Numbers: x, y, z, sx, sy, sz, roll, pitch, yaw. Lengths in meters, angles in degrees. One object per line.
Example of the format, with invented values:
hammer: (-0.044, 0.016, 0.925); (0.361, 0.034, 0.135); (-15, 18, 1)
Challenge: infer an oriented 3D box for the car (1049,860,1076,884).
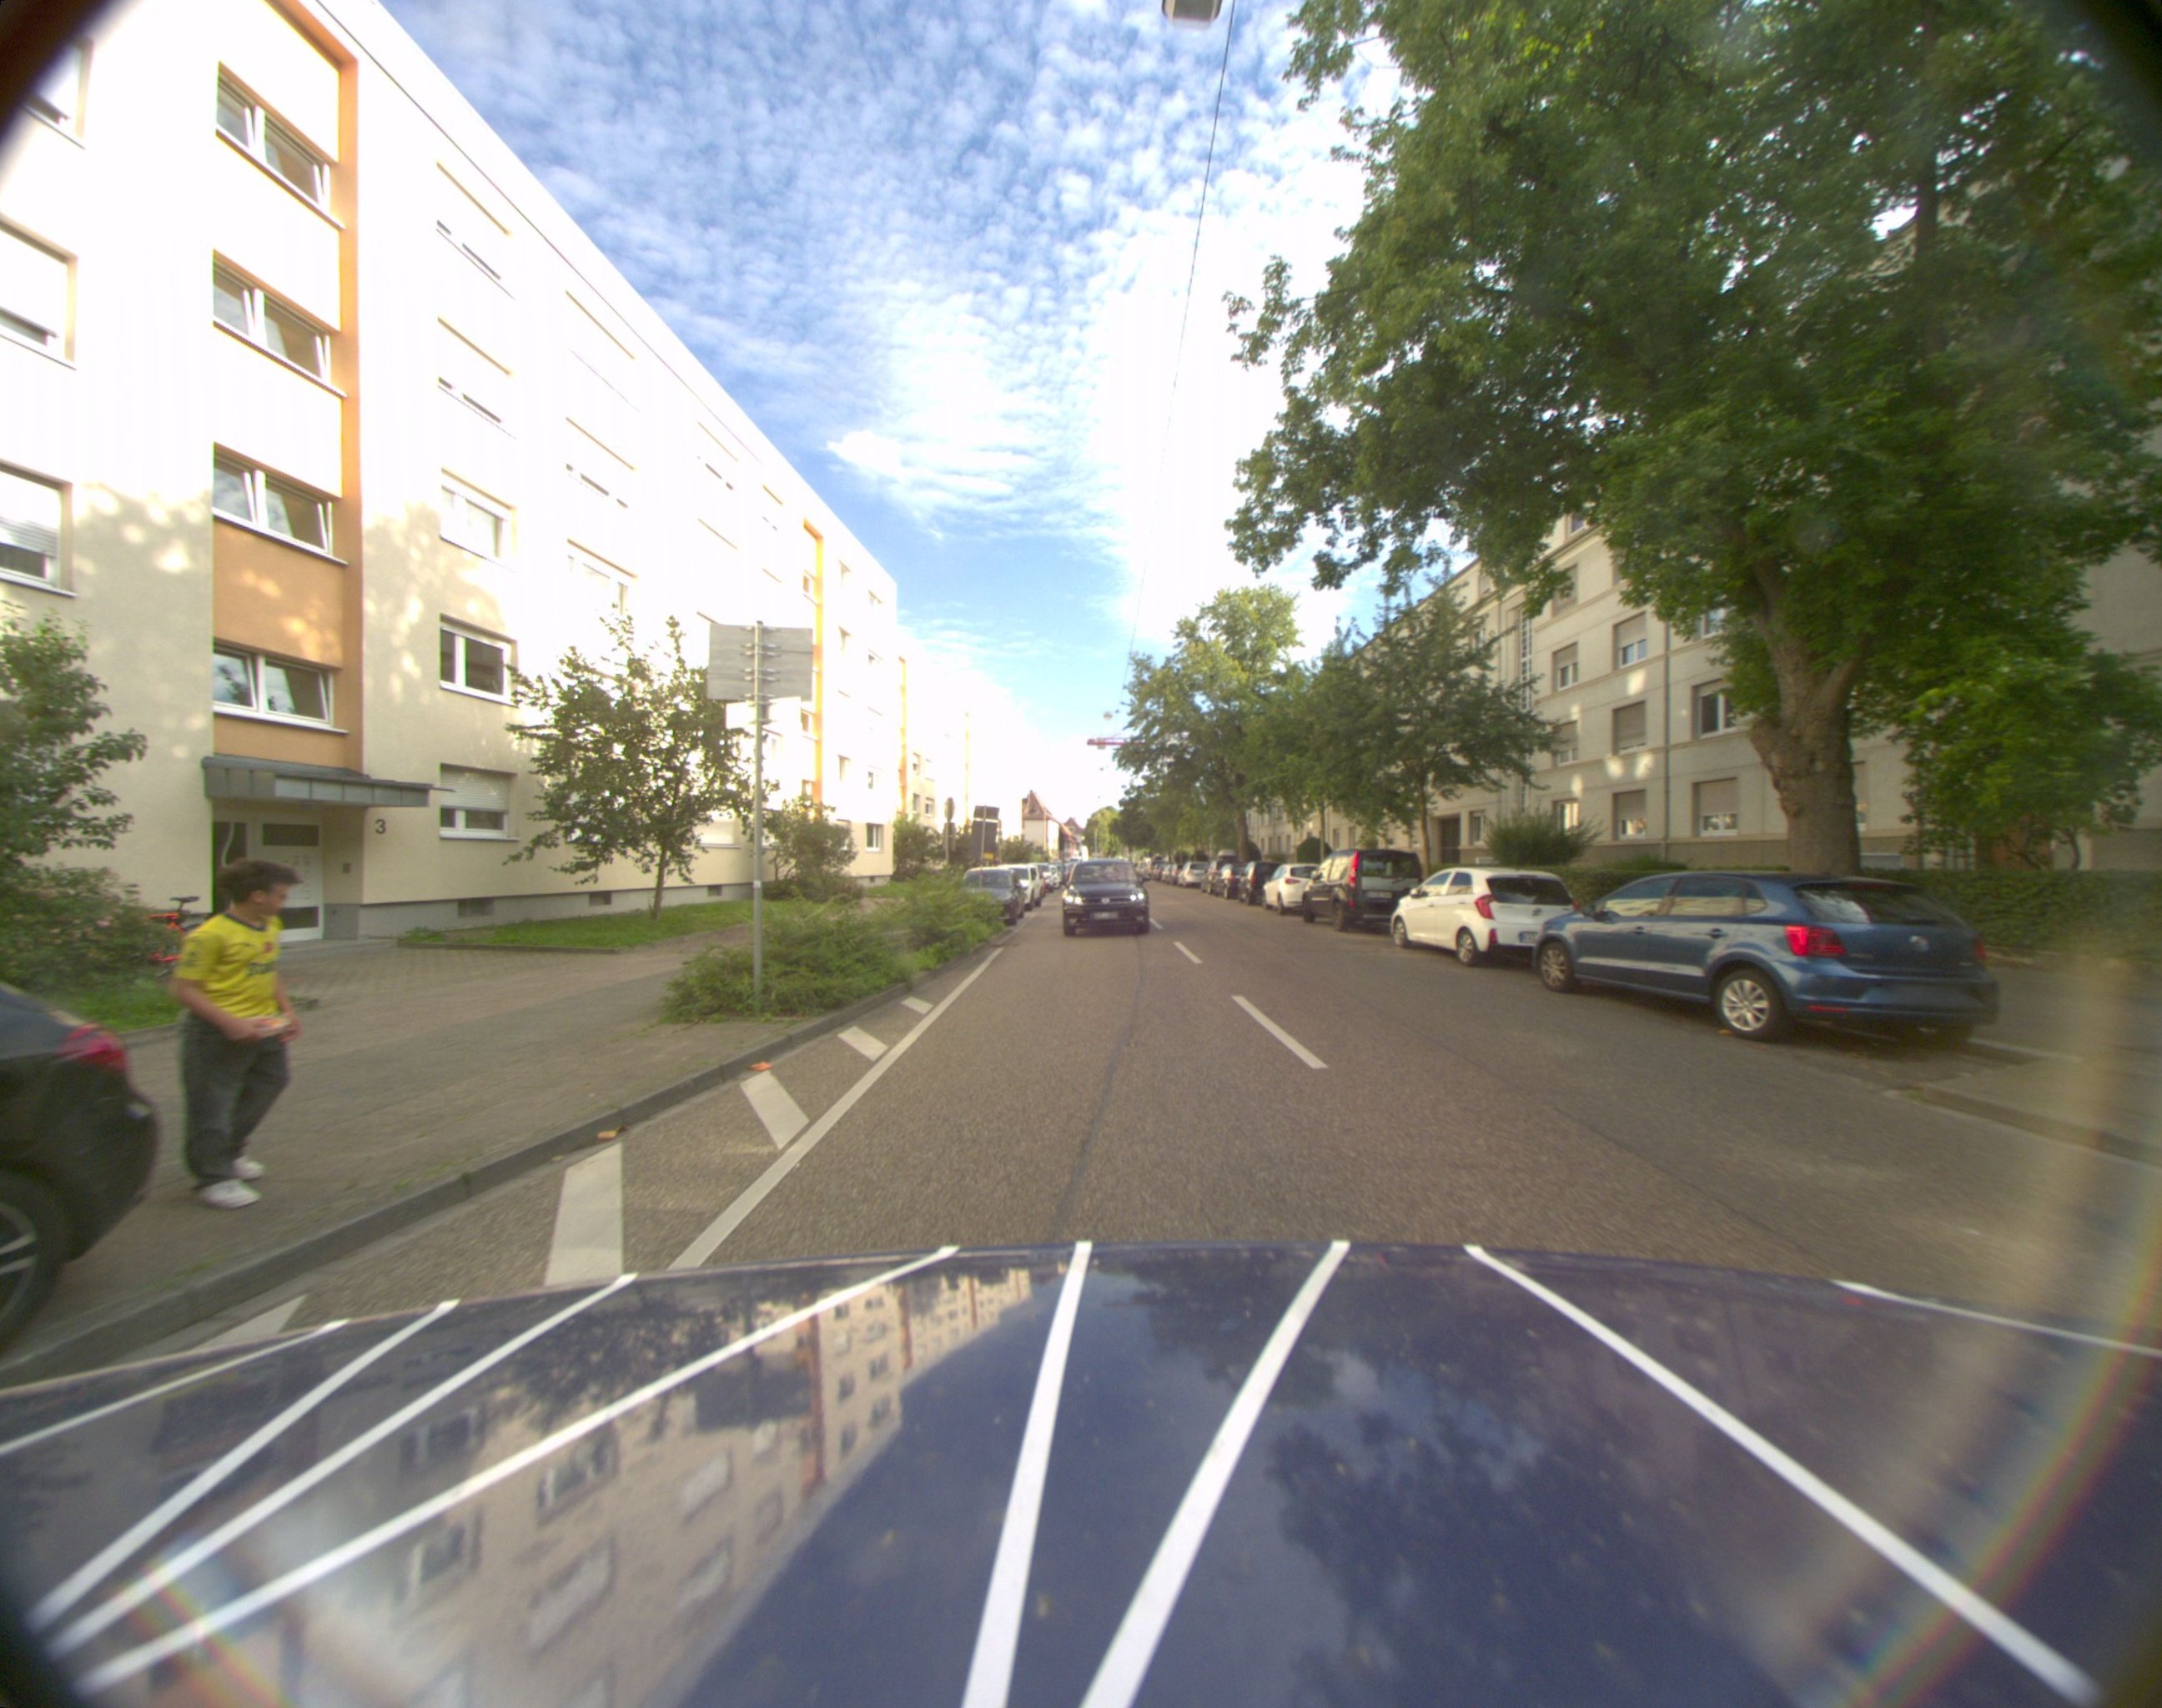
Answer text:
car: (-1.325, 1.291, 56.361); (1.733, 1.640, 4.117); (1, 0, 1)

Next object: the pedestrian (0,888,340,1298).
pedestrian: (-3.898, 0.931, 3.282); (0.654, 1.529, 0.743); (1, 0, 1)

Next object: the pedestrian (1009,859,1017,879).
pedestrian: (-5.813, 1.277, 64.738); (0.543, 1.711, 0.772); (0, 0, 6)

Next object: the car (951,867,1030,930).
car: (-2.399, 1.137, 21.038); (1.694, 1.519, 4.237); (0, 0, 0)

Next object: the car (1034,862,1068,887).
car: (-1.846, 1.255, 47.984); (1.732, 1.479, 4.642); (1, 0, 2)

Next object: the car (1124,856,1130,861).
car: (15.792, 1.482, 259.306); (1.834, 1.659, 4.085); (0, 0, 1)

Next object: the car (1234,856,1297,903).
car: (6.556, 0.870, 27.260); (1.556, 1.511, 3.017); (2, 0, 2)

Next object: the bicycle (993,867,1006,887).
bicycle: (-4.678, 1.306, 43.672); (0.525, 1.128, 1.929); (0, 0, 0)

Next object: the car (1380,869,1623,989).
car: (6.367, 1.041, 12.071); (1.803, 1.485, 3.803); (2, 0, 2)

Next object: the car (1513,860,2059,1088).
car: (6.306, 0.907, 7.528); (1.804, 1.610, 3.802); (2, 0, -1)

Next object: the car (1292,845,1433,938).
car: (6.375, 0.775, 17.717); (1.727, 1.871, 4.192); (1, 0, 1)

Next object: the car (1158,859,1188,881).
car: (6.693, 1.141, 55.407); (1.604, 1.410, 3.964); (3, 0, -1)

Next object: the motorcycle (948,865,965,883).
motorcycle: (-7.517, 1.193, 45.912); (0.632, 1.038, 2.394); (1, 0, 0)

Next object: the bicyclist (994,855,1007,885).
bicyclist: (-4.649, 0.917, 43.708); (0.625, 1.668, 0.893); (0, 0, 0)

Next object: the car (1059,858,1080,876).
car: (-1.067, 1.140, 67.551); (1.733, 1.506, 4.190); (1, 0, -2)

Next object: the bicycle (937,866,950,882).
bicycle: (-8.424, 1.224, 46.555); (0.460, 0.936, 1.517); (1, 0, 0)

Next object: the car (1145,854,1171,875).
car: (7.188, 0.962, 71.552); (1.882, 1.782, 4.970); (2, 0, 0)

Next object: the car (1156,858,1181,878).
car: (6.986, 1.085, 60.970); (1.689, 1.472, 4.453); (3, 0, 4)

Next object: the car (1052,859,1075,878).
car: (-1.429, 1.185, 61.956); (1.733, 1.452, 4.116); (1, 0, 0)

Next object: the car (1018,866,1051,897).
car: (-2.271, 1.311, 37.335); (1.519, 1.390, 3.675); (1, 0, -3)

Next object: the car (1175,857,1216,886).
car: (6.837, 0.994, 45.787); (1.743, 1.610, 3.994); (2, 0, -1)

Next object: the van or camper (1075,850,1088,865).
van or camper: (0.040, 0.666, 134.944); (2.165, 2.512, 5.914); (2, 0, 0)

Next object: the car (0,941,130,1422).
car: (-4.260, 0.988, 0.520); (1.764, 1.403, 4.234); (1, 0, 4)

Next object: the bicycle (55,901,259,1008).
bicycle: (-10.801, 1.135, 8.971); (0.523, 1.050, 1.553); (-1, 0, -2)

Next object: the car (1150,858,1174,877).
car: (7.047, 1.172, 66.162); (1.689, 1.472, 4.119); (3, 0, 2)

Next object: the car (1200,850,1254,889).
car: (6.915, 0.710, 36.480); (1.803, 1.658, 4.483); (2, 0, 2)

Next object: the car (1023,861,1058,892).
car: (-2.204, 1.191, 42.080); (1.733, 1.571, 4.116); (1, 0, -1)

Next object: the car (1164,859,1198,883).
car: (6.611, 1.085, 50.422); (1.618, 1.459, 4.013); (2, 0, -1)

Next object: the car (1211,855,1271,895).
car: (6.516, 0.810, 31.313); (1.704, 1.478, 3.848); (2, 0, 2)

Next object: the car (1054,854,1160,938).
car: (0.476, 0.861, 17.500); (1.860, 1.673, 3.998); (-1, 0, -6)

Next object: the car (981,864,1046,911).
car: (-2.319, 1.133, 27.225); (1.693, 1.519, 4.239); (0, 0, 3)

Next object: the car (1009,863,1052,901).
car: (-2.159, 1.179, 33.237); (1.555, 1.548, 3.468); (1, 0, 0)

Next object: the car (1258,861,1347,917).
car: (6.537, 0.970, 22.872); (1.698, 1.484, 4.334); (1, 0, 4)
